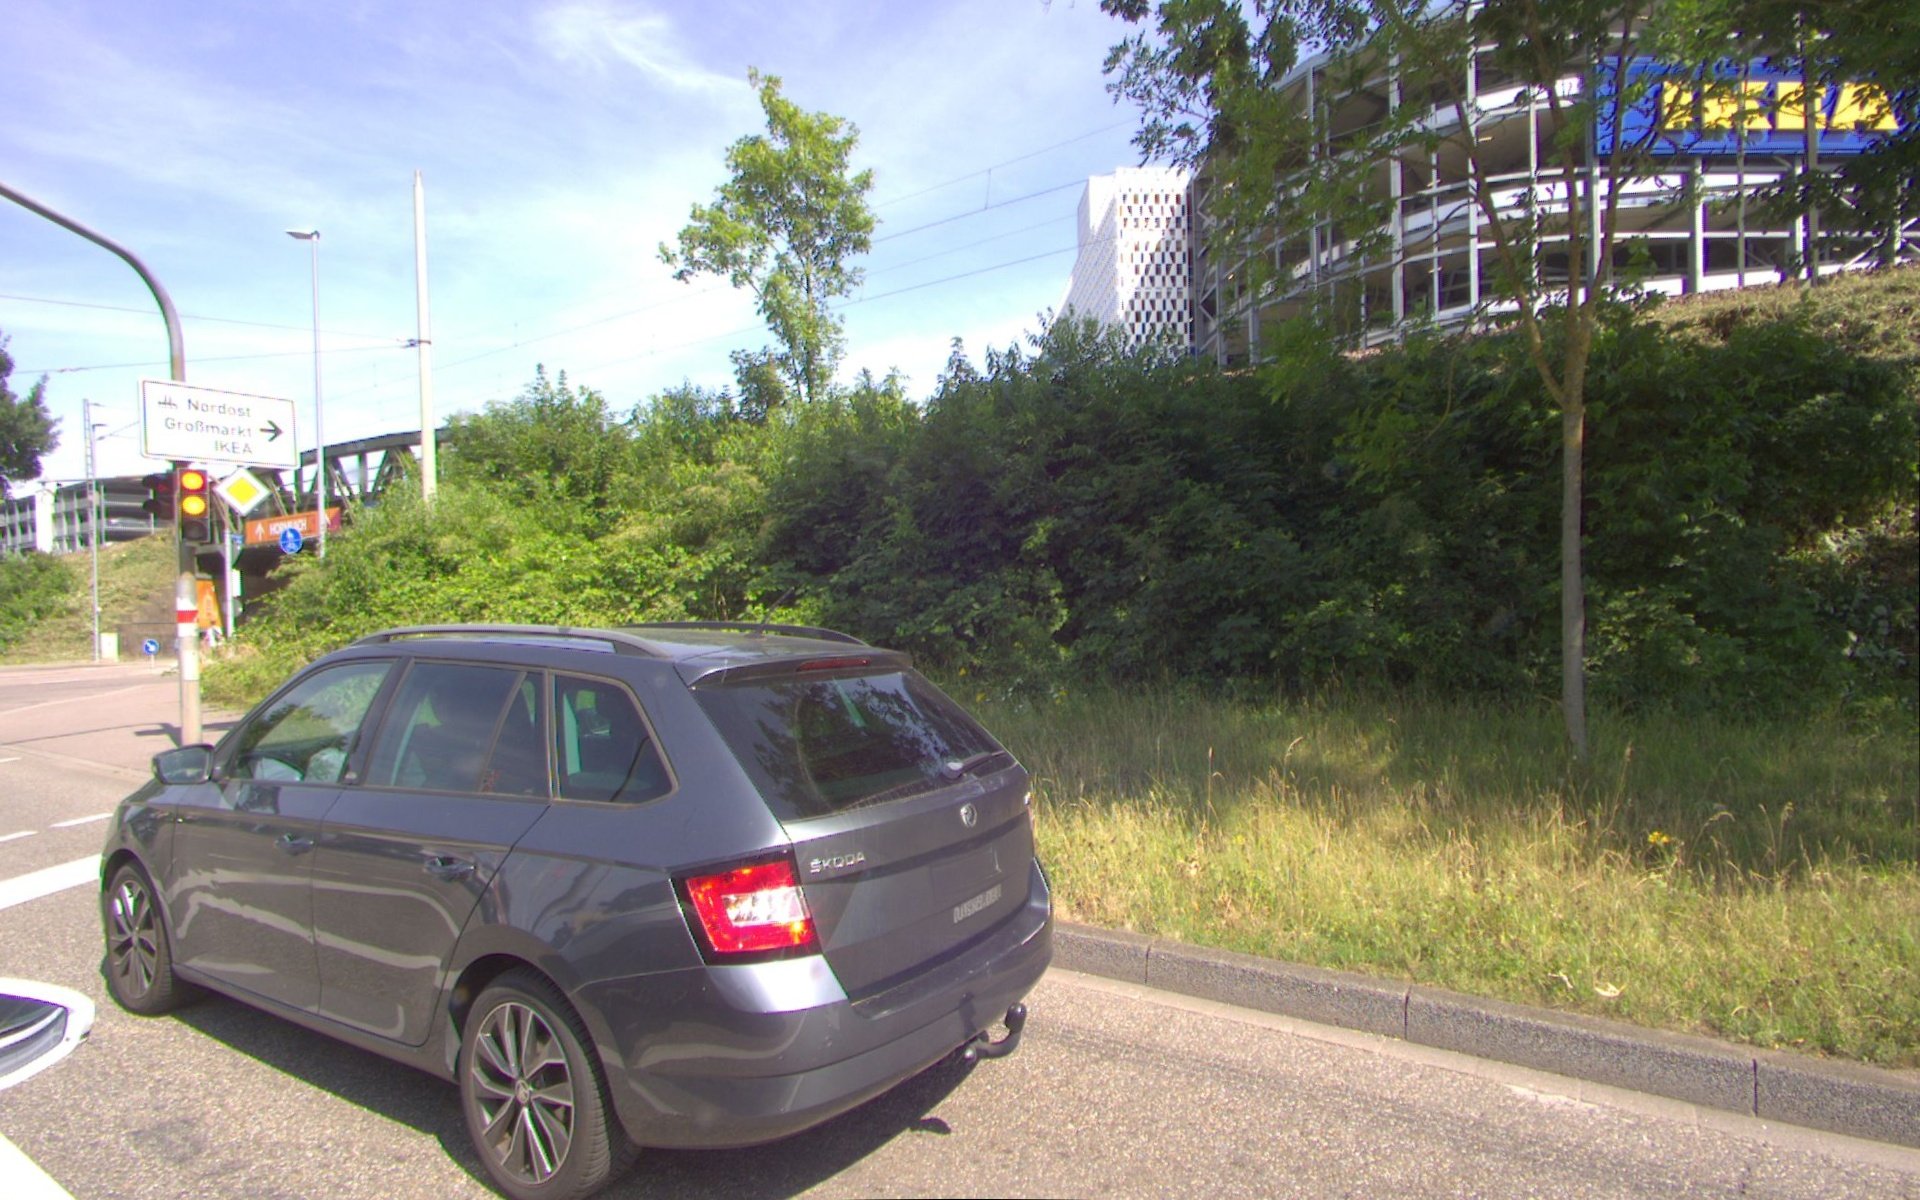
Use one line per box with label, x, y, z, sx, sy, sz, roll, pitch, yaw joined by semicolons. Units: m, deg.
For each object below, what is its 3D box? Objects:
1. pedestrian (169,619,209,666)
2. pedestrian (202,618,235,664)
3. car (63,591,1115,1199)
pedestrian;-26.974;1.480;35.038;0.766;1.633;0.866;-1;0;32
pedestrian;-26.650;1.468;35.992;0.766;1.600;0.728;-1;0;32
car;-1.592;0.774;3.729;3.980;1.472;1.671;-1;-2;34
